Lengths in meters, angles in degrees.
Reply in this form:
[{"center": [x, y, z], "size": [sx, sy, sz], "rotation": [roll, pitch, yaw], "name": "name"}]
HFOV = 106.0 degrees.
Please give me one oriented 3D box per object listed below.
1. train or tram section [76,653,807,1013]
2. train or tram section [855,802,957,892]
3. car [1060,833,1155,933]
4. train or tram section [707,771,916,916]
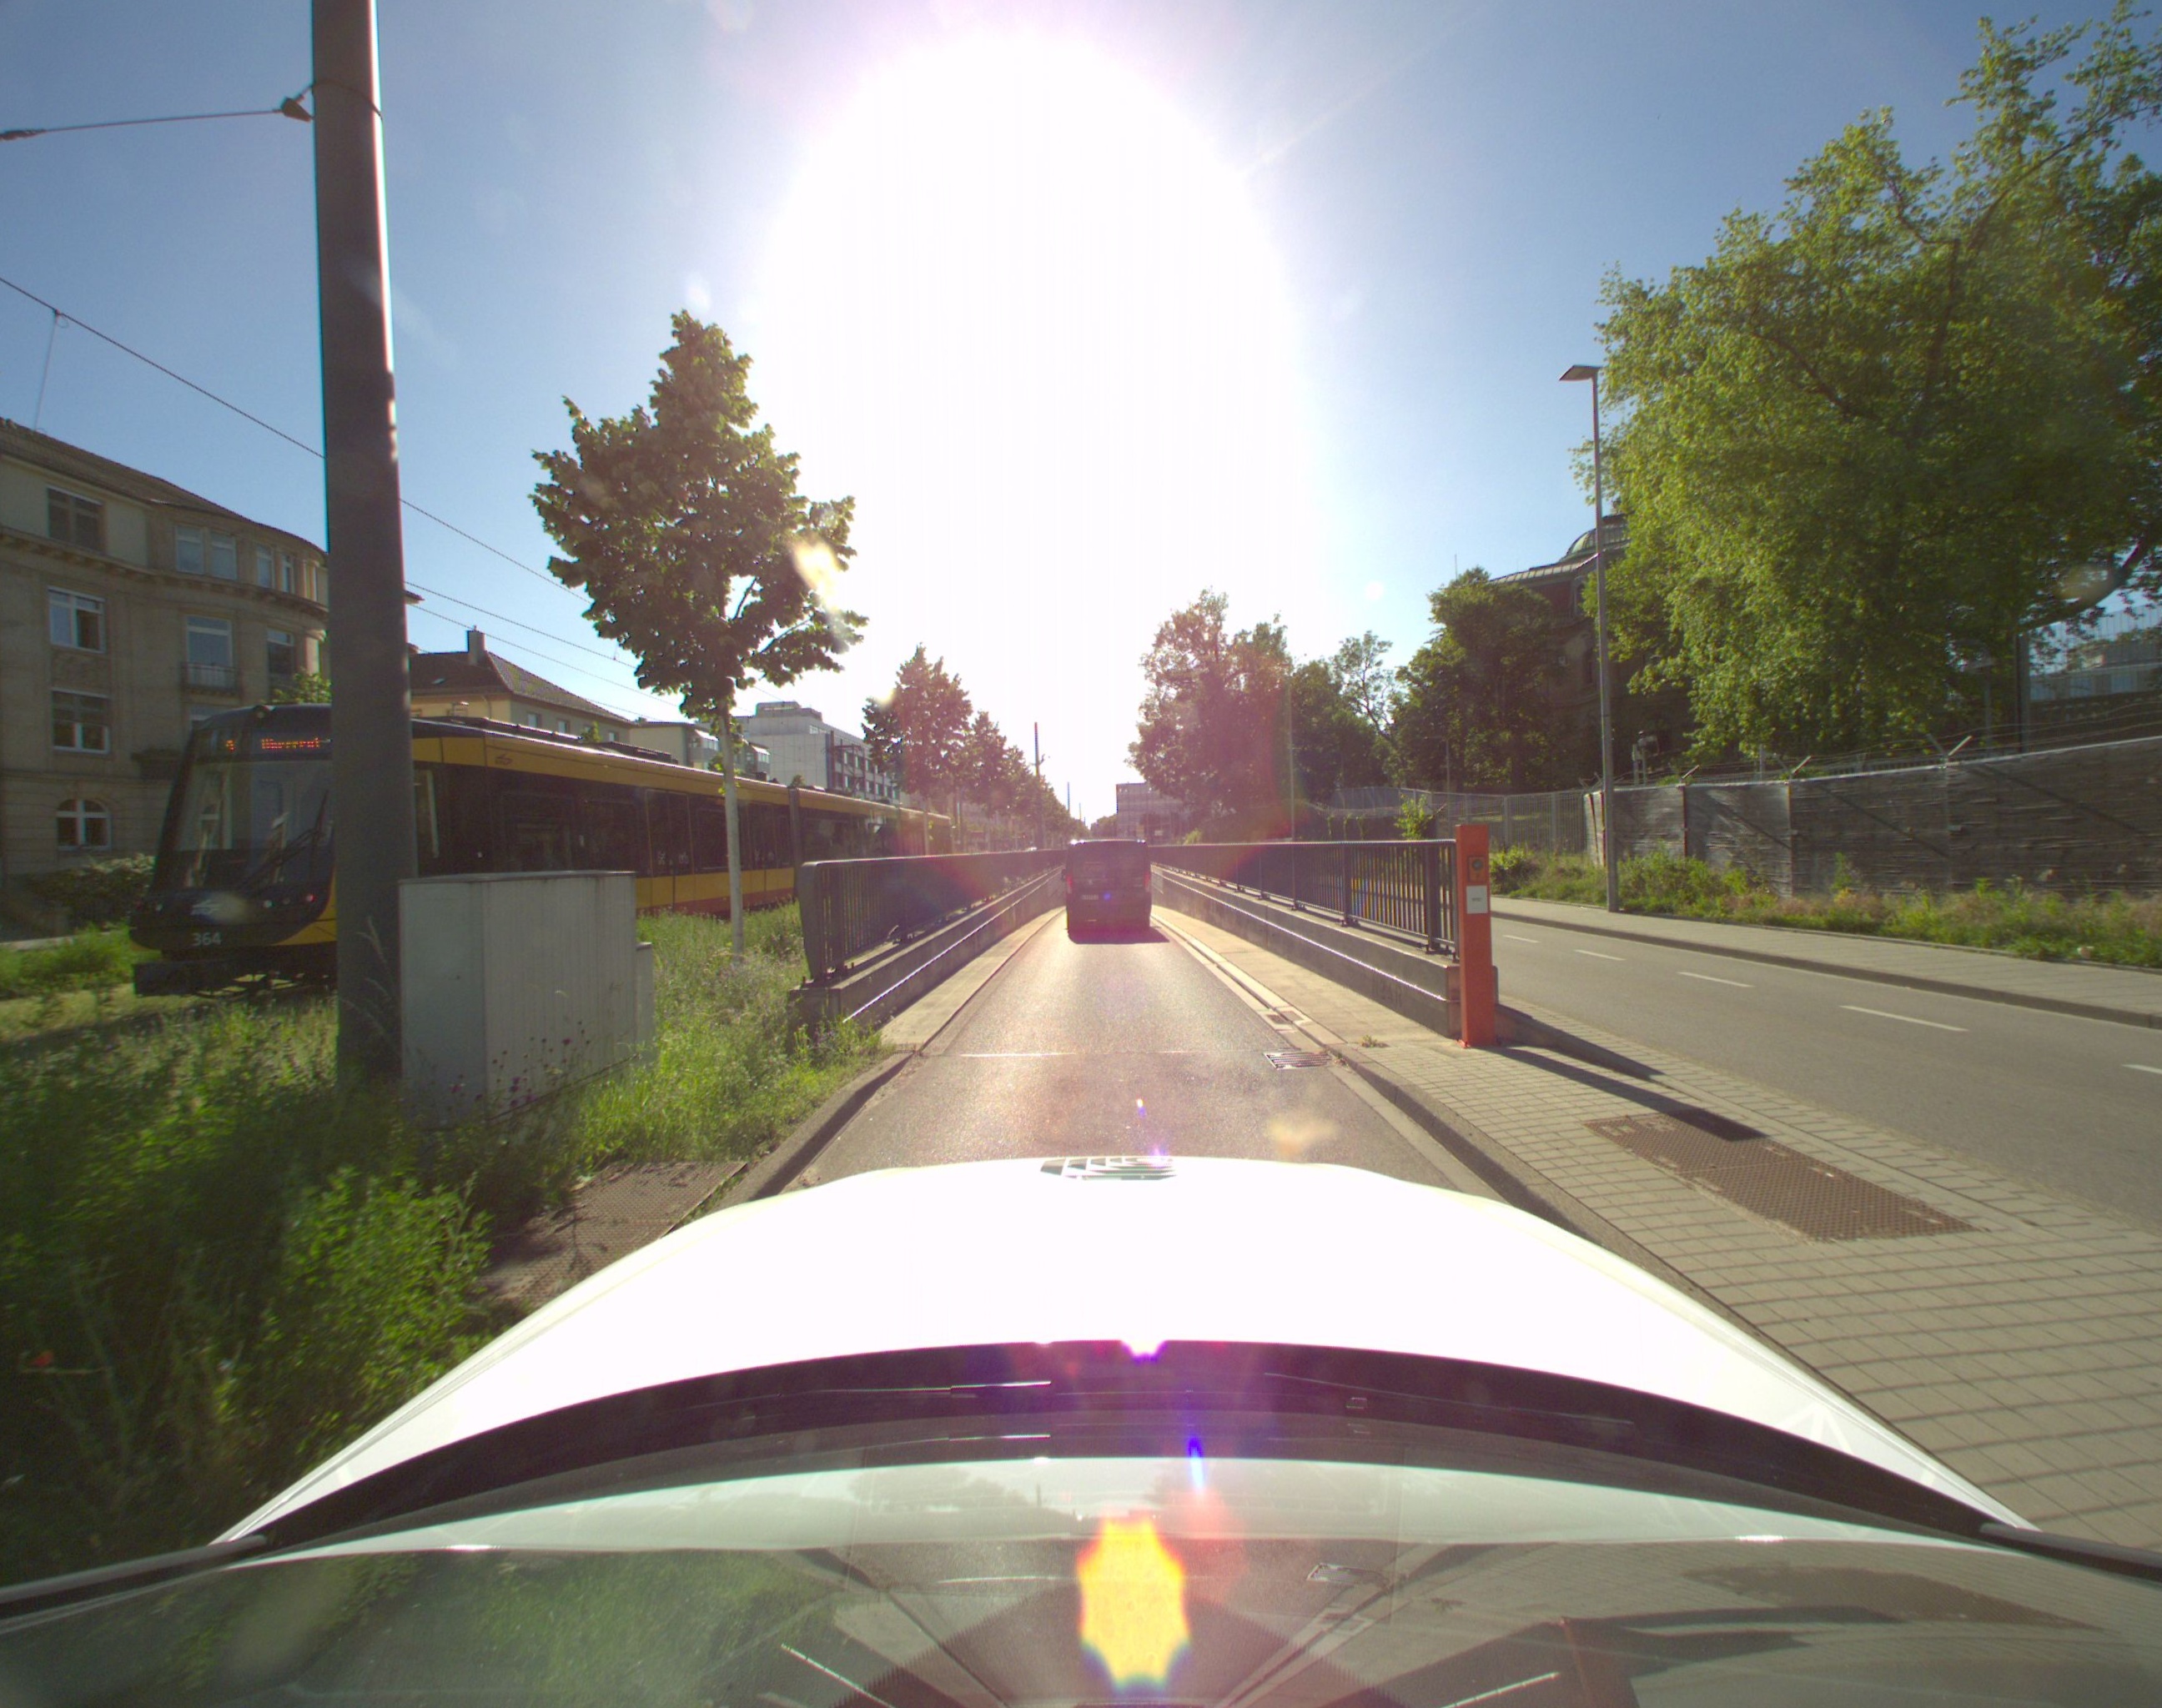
[{"center": [-8.804, -0.212, 15.003], "size": [2.601, 3.656, 13.347], "rotation": [0, 0, 2], "name": "train or tram section"}, {"center": [-8.240, -0.298, 39.734], "size": [2.603, 3.854, 9.973], "rotation": [0, 0, 1], "name": "train or tram section"}, {"center": [0.702, 0.719, 21.137], "size": [2.150, 2.266, 4.638], "rotation": [-1, -1, 2], "name": "car"}, {"center": [-8.493, -0.274, 28.191], "size": [2.601, 3.821, 13.093], "rotation": [0, 0, 1], "name": "train or tram section"}]
